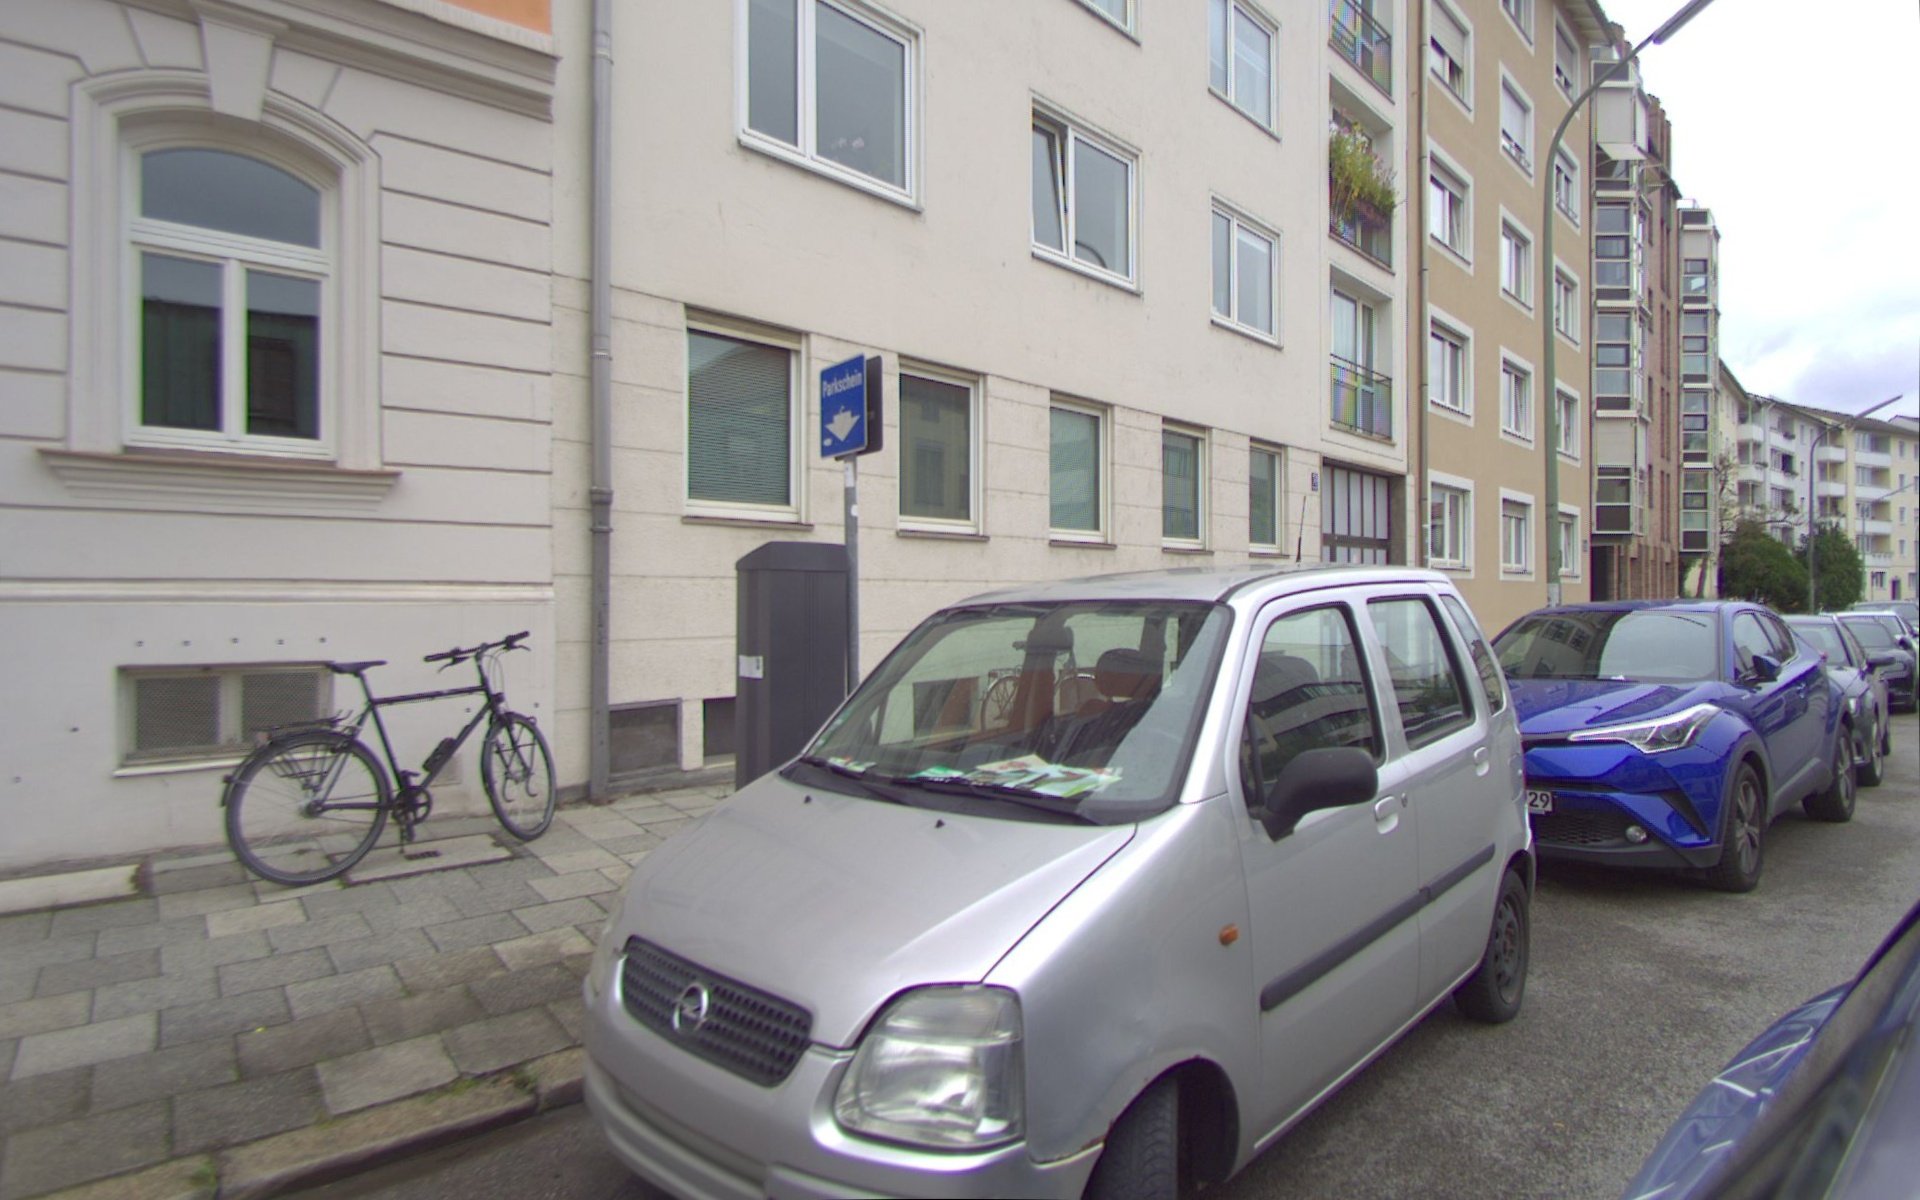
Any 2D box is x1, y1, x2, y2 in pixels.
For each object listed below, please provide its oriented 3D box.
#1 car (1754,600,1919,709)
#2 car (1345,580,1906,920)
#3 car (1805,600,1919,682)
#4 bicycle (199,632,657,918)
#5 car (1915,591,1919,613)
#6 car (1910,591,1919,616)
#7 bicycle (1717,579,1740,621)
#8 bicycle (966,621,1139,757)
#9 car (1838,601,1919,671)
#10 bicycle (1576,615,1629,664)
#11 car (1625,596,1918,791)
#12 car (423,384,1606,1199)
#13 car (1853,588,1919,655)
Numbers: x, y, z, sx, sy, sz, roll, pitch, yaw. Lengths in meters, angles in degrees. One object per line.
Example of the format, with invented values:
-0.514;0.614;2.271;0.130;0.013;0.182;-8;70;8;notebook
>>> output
14.186;0.744;16.039;1.955;1.432;5.031;-1;0;45;car
4.535;0.664;6.605;4.465;1.513;1.746;0;-1;-39;car
17.953;0.719;19.787;1.854;1.432;4.935;-1;-1;44;car
-2.623;0.760;5.191;0.722;1.126;1.963;-1;0;43;bicycle
65.431;0.122;67.675;3.928;1.494;1.823;0;-1;-40;car
61.675;0.205;64.346;1.750;1.511;3.936;-1;0;44;car
37.878;-0.016;49.852;0.652;2.039;1.961;-1;-1;44;bicycle
0.896;0.757;9.297;0.528;1.085;1.970;-1;0;41;bicycle
21.708;0.782;23.580;1.755;1.383;4.709;-6;-4;41;car
14.857;0.888;23.385;1.724;1.046;0.676;0;0;-45;bicycle
7.993;0.746;9.804;1.705;1.473;4.331;-5;-3;45;car
0.604;0.593;3.200;1.681;1.695;3.744;-3;-2;44;car
25.406;0.530;27.273;1.875;1.667;4.576;-1;0;40;car
